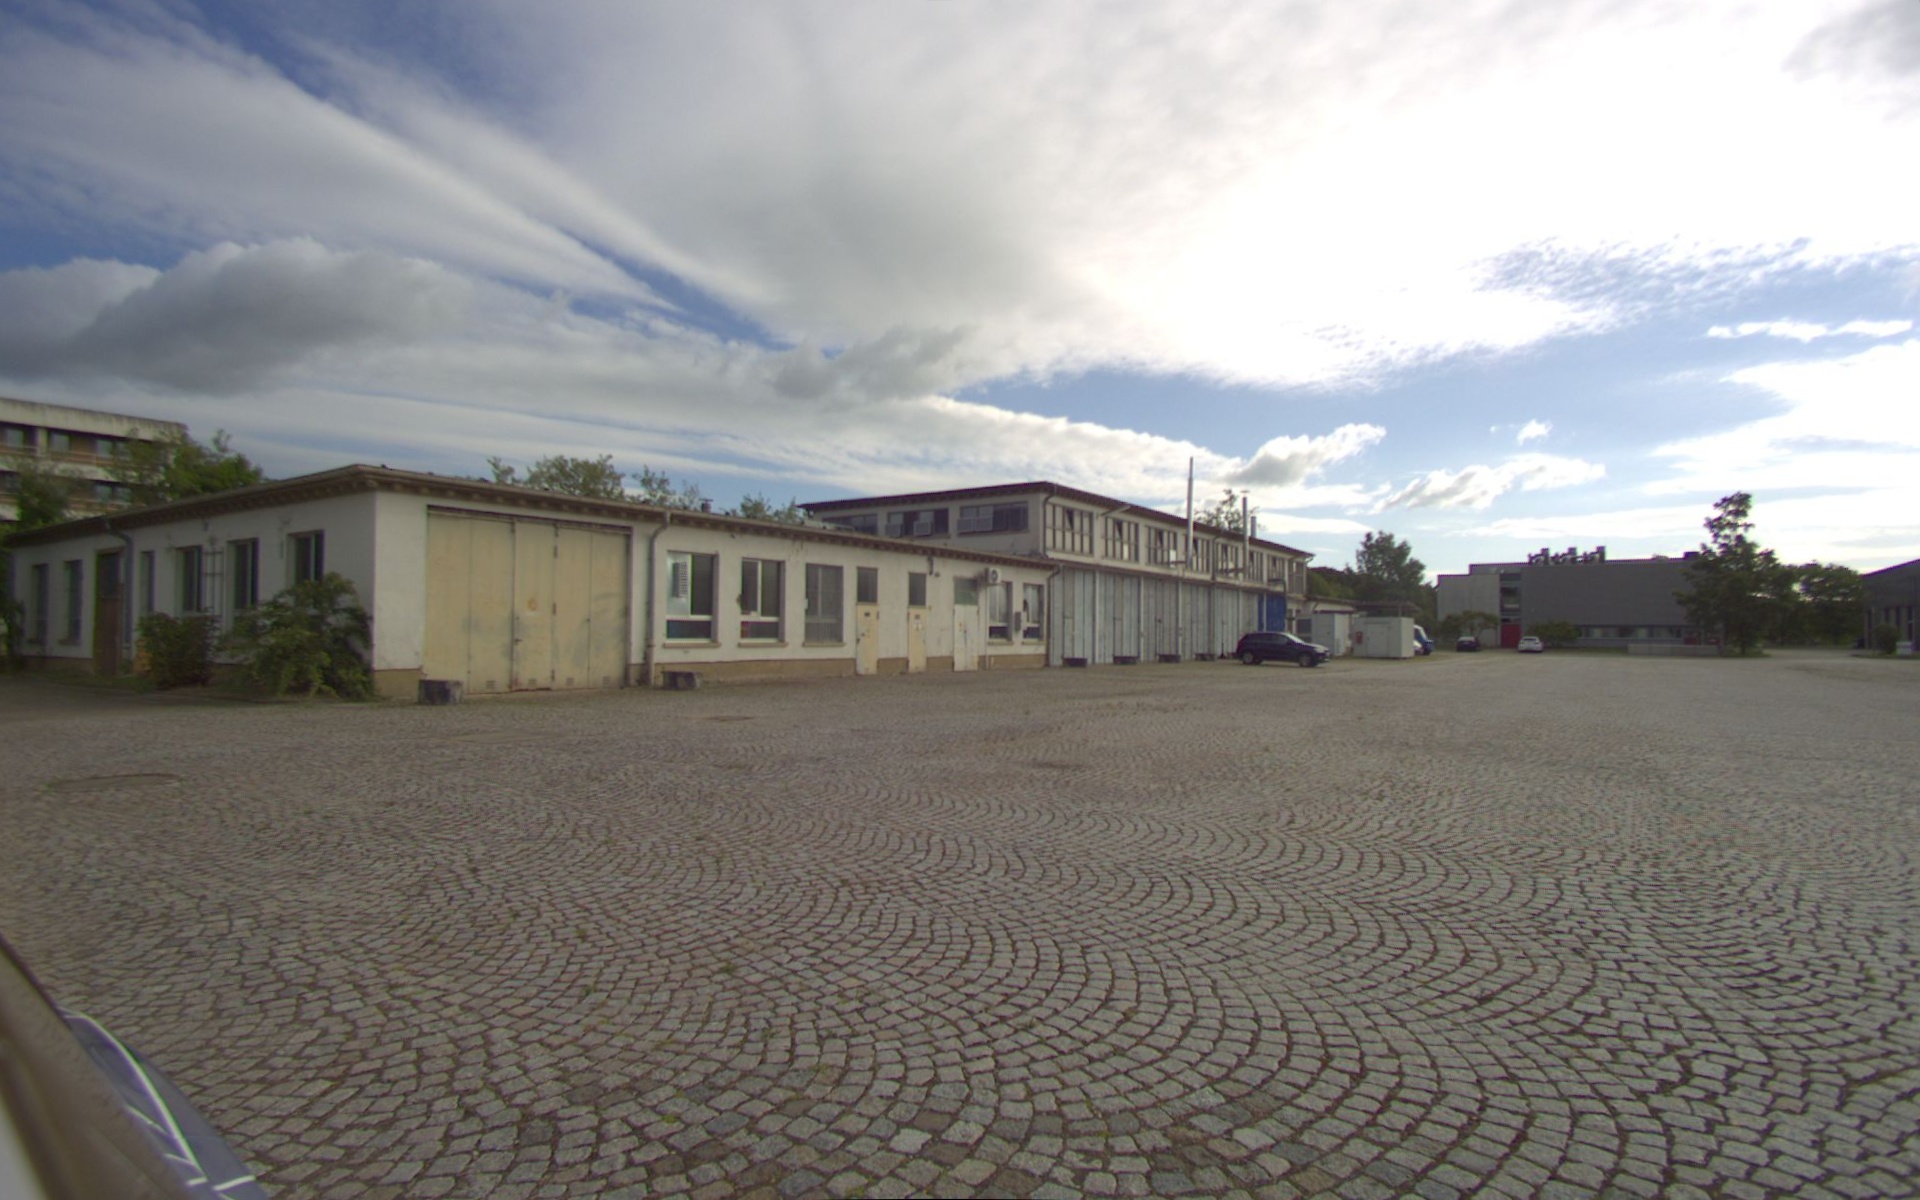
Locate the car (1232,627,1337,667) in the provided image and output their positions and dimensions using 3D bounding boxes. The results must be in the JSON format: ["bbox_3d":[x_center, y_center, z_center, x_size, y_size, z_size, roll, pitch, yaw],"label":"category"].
[{"bbox_3d":[15.471,2.230,48.254,4.424,1.770,1.977,-1,-5,34],"label":"car"}]

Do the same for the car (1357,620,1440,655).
[{"bbox_3d":[34.223,2.898,78.993,5.615,2.635,2.424,-1,-3,34],"label":"car"}]

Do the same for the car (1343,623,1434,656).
[{"bbox_3d":[30.202,2.795,71.420,5.615,2.236,2.424,-1,-3,34],"label":"car"}]

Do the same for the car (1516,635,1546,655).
[{"bbox_3d":[53.174,4.192,94.161,2.148,1.824,3.955,-1,-3,33],"label":"car"}]

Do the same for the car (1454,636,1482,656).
[{"bbox_3d":[48.577,4.388,96.764,1.994,1.824,3.955,-1,-3,33],"label":"car"}]
